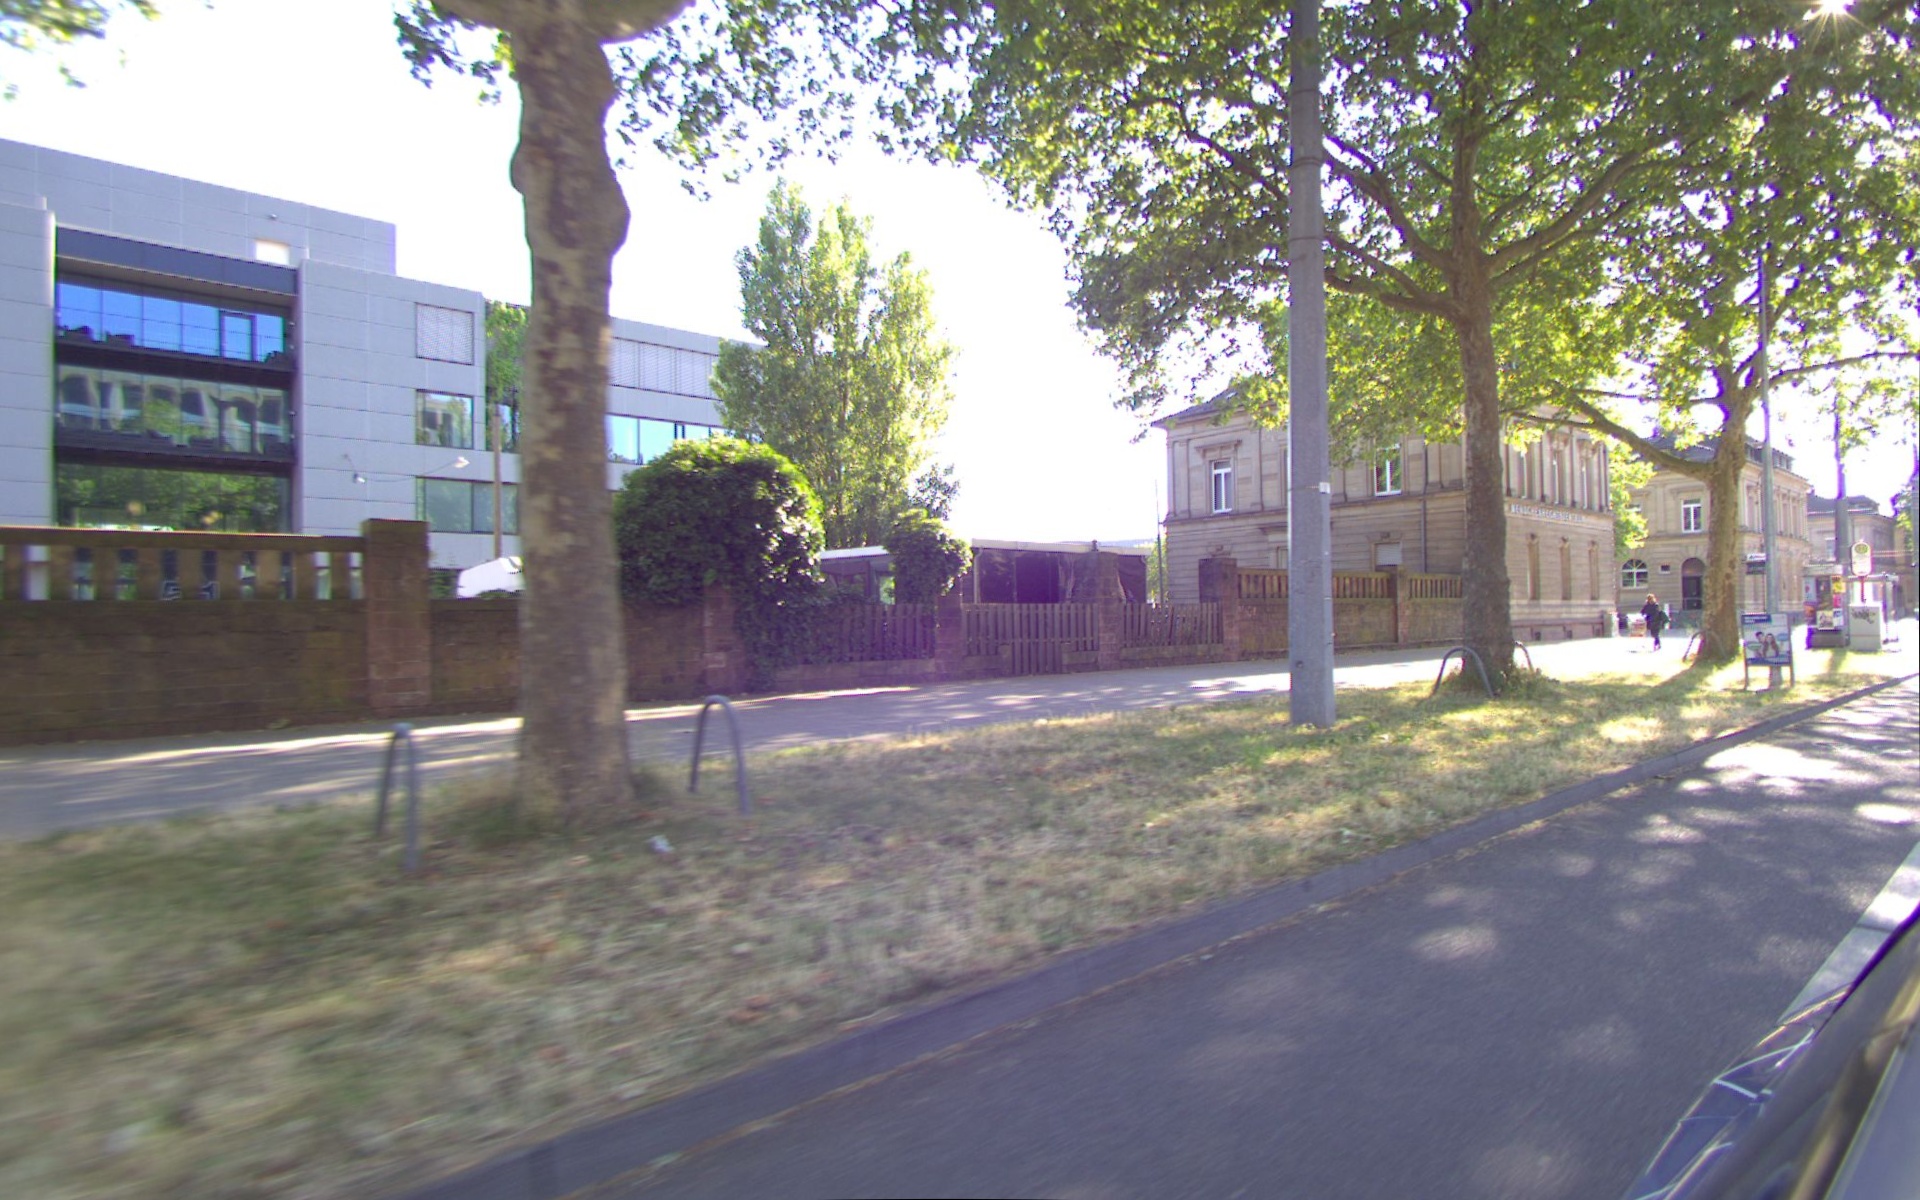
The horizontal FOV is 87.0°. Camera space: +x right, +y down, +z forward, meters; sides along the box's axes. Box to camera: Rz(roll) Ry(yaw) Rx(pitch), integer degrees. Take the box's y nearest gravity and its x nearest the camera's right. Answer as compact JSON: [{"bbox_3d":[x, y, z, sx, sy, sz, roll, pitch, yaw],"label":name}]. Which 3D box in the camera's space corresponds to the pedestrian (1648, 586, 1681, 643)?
[{"bbox_3d":[22.183,0.437,31.860,0.769,1.766,0.784,0,0,43],"label":"pedestrian"}]

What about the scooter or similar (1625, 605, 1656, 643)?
[{"bbox_3d":[21.681,0.759,32.237,0.718,1.170,0.748,0,0,43],"label":"scooter or similar"}]
